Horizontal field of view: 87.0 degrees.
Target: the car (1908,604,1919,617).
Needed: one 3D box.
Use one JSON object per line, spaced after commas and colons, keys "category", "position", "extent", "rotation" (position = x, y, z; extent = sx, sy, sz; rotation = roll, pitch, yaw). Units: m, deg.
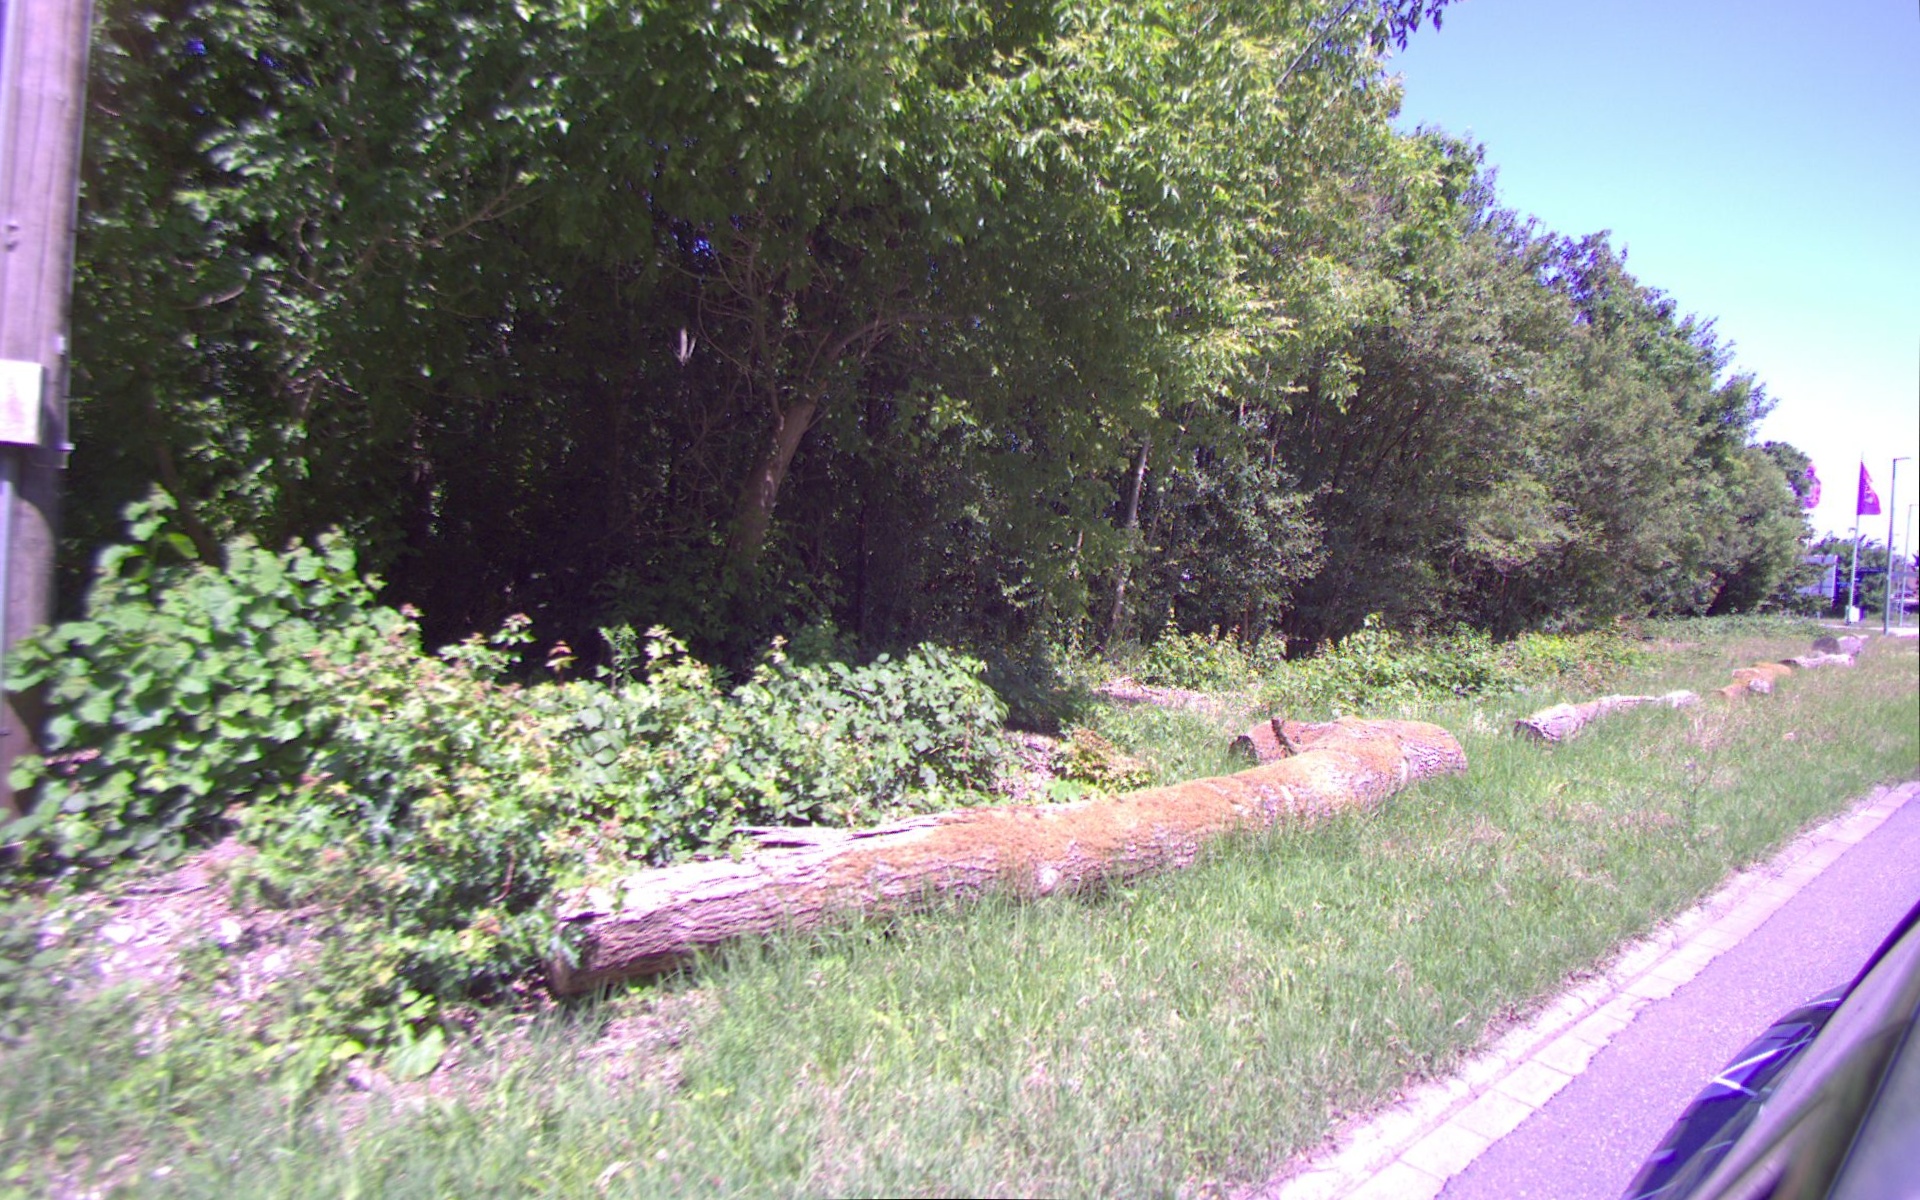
{"category": "car", "position": [134.524, 1.533, 139.965], "extent": [1.959, 1.802, 4.727], "rotation": [2, 1, -8]}
